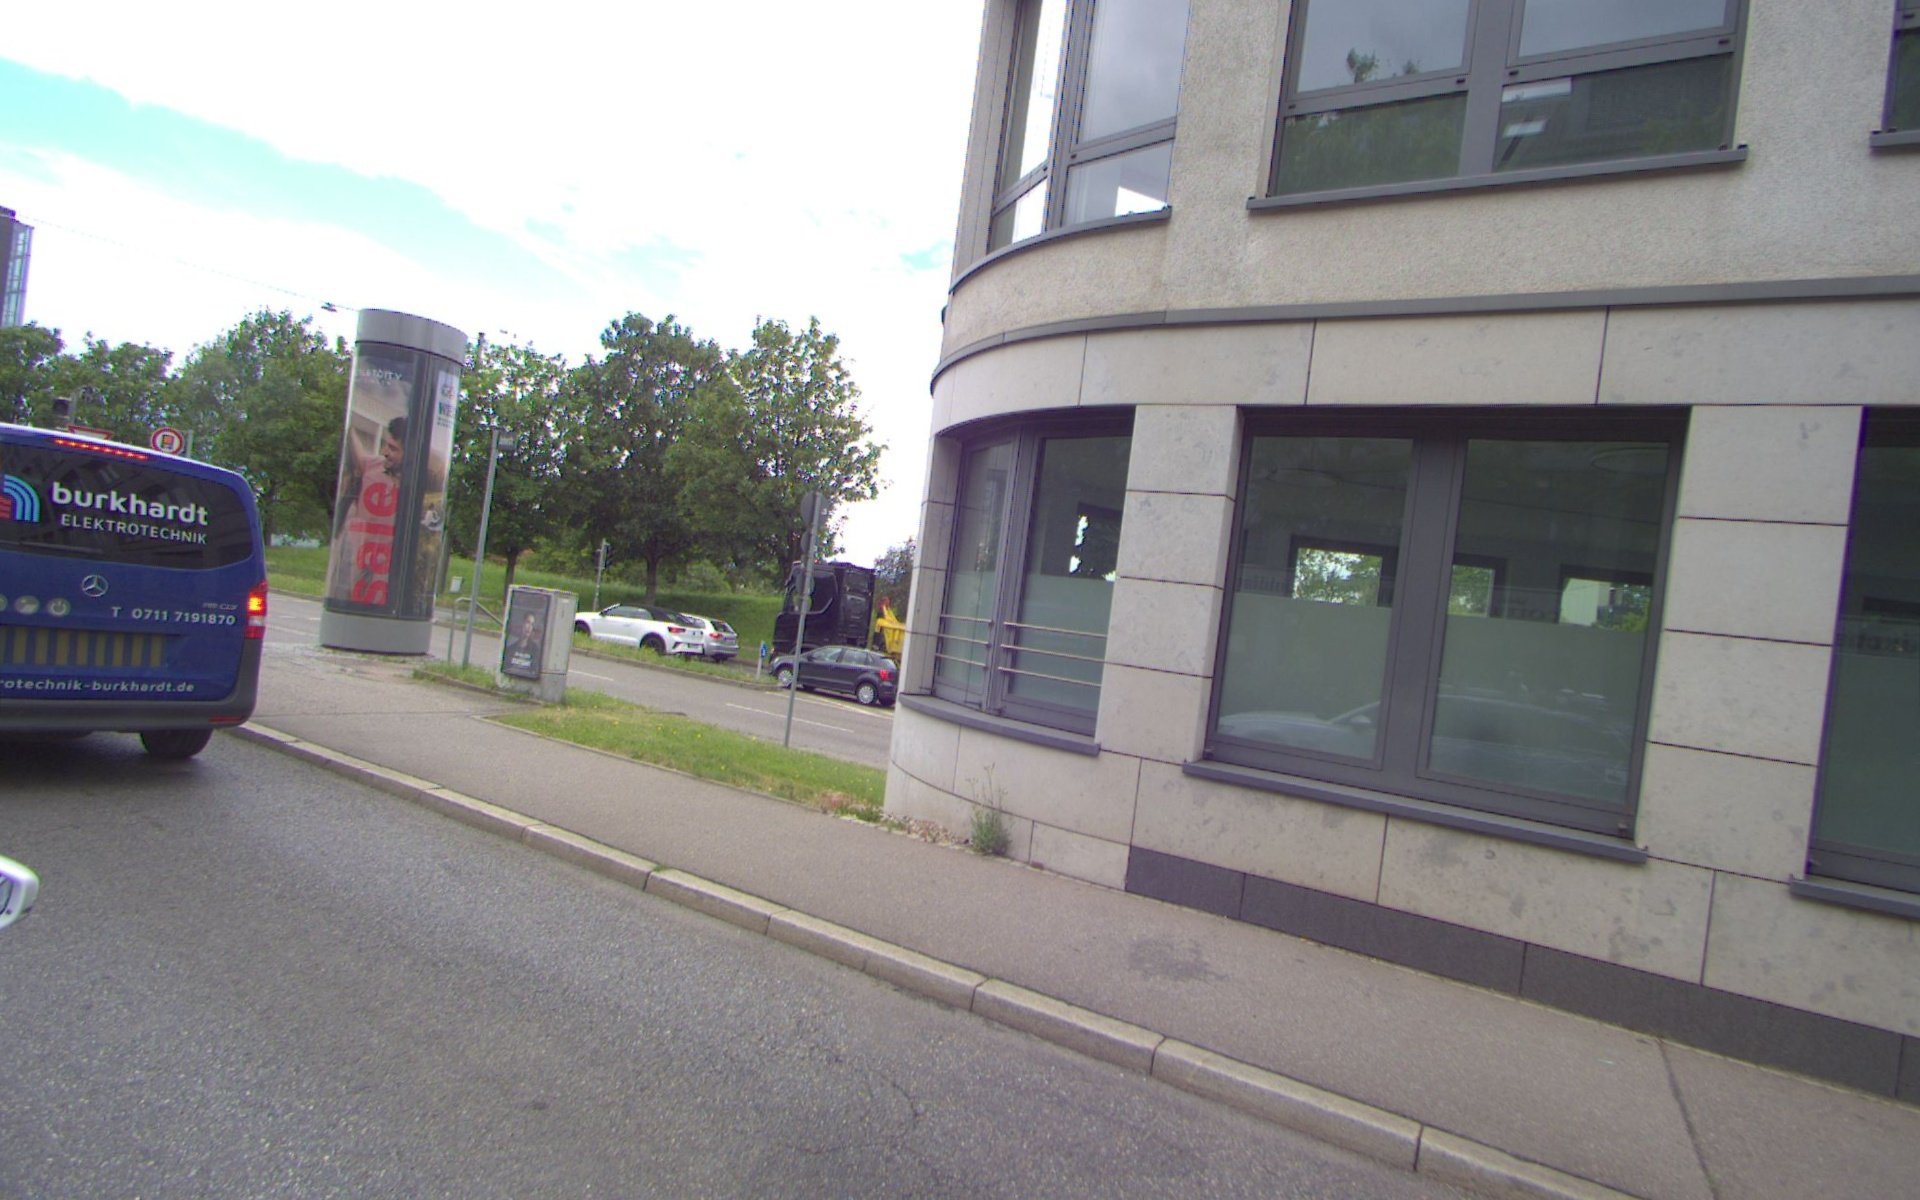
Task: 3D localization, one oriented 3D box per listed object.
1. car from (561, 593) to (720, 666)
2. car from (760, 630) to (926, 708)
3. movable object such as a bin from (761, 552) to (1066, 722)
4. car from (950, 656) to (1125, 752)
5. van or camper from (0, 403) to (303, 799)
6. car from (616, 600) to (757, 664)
[{"bbox_3d":[-9.502,0.892,29.980,3.925,1.469,2.003,8,-3,19],"label":"car"},{"bbox_3d":[-3.204,1.911,27.739,3.925,1.469,2.003,8,-3,19],"label":"car"},{"bbox_3d":[-1.402,1.052,30.570,8.410,3.949,2.870,7,-1,18],"label":"movable object such as a bin"},{"bbox_3d":[2.012,2.631,25.718,3.925,1.723,2.003,8,-3,19],"label":"car"},{"bbox_3d":[-6.600,-0.195,6.521,4.949,1.934,1.862,7,-1,32],"label":"van or camper"},{"bbox_3d":[-9.110,1.080,33.608,3.925,1.469,2.003,8,-3,19],"label":"car"}]
